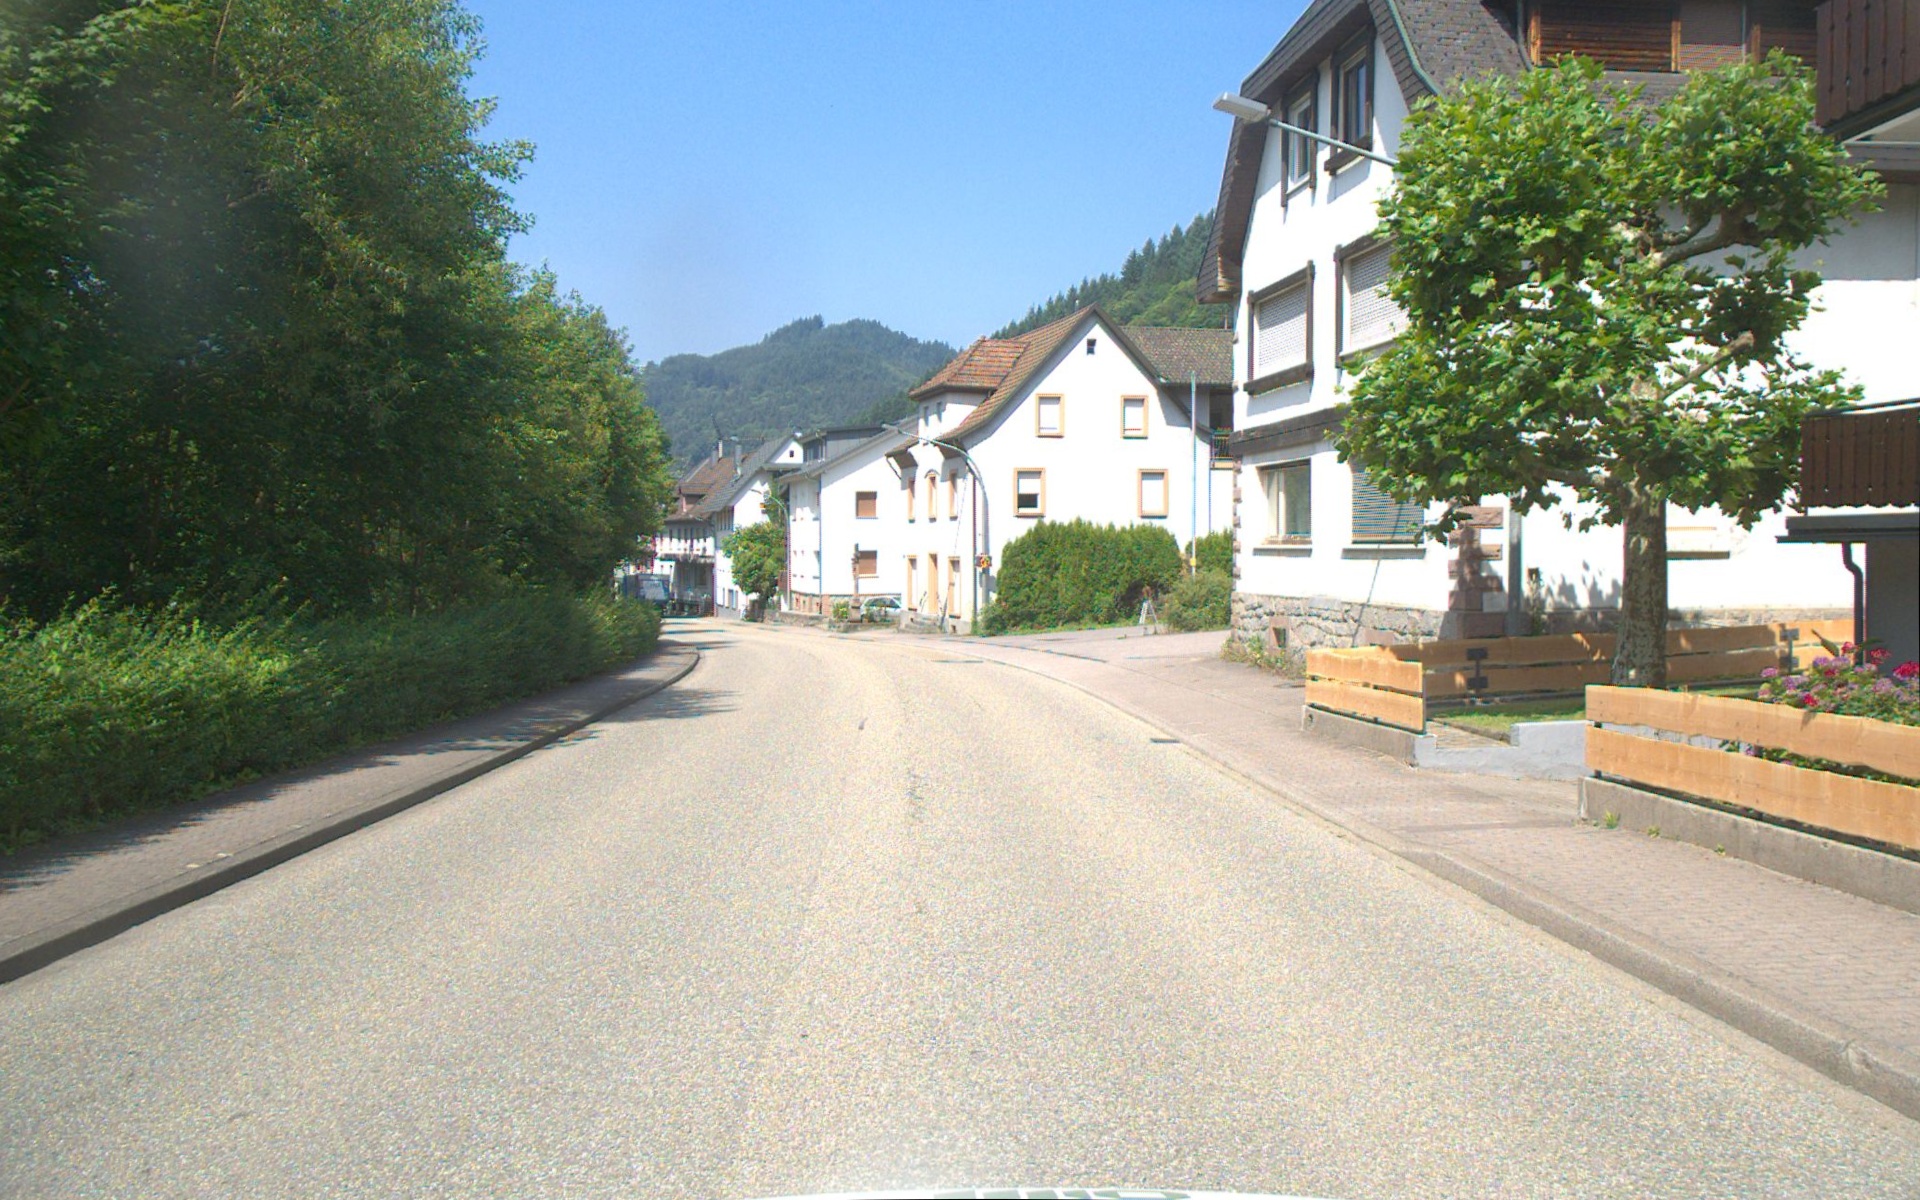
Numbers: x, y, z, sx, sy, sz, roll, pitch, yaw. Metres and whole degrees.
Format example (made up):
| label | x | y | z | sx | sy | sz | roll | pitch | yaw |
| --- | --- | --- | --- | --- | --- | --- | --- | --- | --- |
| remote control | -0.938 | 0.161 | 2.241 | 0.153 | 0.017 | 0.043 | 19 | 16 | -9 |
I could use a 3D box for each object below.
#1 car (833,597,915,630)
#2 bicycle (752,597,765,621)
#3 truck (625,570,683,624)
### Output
| label | x | y | z | sx | sy | sz | roll | pitch | yaw |
| --- | --- | --- | --- | --- | --- | --- | --- | --- | --- |
| car | -4.175 | 0.667 | 80.114 | 3.694 | 1.452 | 1.607 | -2 | 0 | 31 |
| bicycle | -12.713 | 0.568 | 104.152 | 0.418 | 1.420 | 2.268 | -4 | 1 | -14 |
| truck | -24.975 | -0.184 | 134.636 | 3.312 | 3.847 | 8.395 | -4 | -1 | -18 |
